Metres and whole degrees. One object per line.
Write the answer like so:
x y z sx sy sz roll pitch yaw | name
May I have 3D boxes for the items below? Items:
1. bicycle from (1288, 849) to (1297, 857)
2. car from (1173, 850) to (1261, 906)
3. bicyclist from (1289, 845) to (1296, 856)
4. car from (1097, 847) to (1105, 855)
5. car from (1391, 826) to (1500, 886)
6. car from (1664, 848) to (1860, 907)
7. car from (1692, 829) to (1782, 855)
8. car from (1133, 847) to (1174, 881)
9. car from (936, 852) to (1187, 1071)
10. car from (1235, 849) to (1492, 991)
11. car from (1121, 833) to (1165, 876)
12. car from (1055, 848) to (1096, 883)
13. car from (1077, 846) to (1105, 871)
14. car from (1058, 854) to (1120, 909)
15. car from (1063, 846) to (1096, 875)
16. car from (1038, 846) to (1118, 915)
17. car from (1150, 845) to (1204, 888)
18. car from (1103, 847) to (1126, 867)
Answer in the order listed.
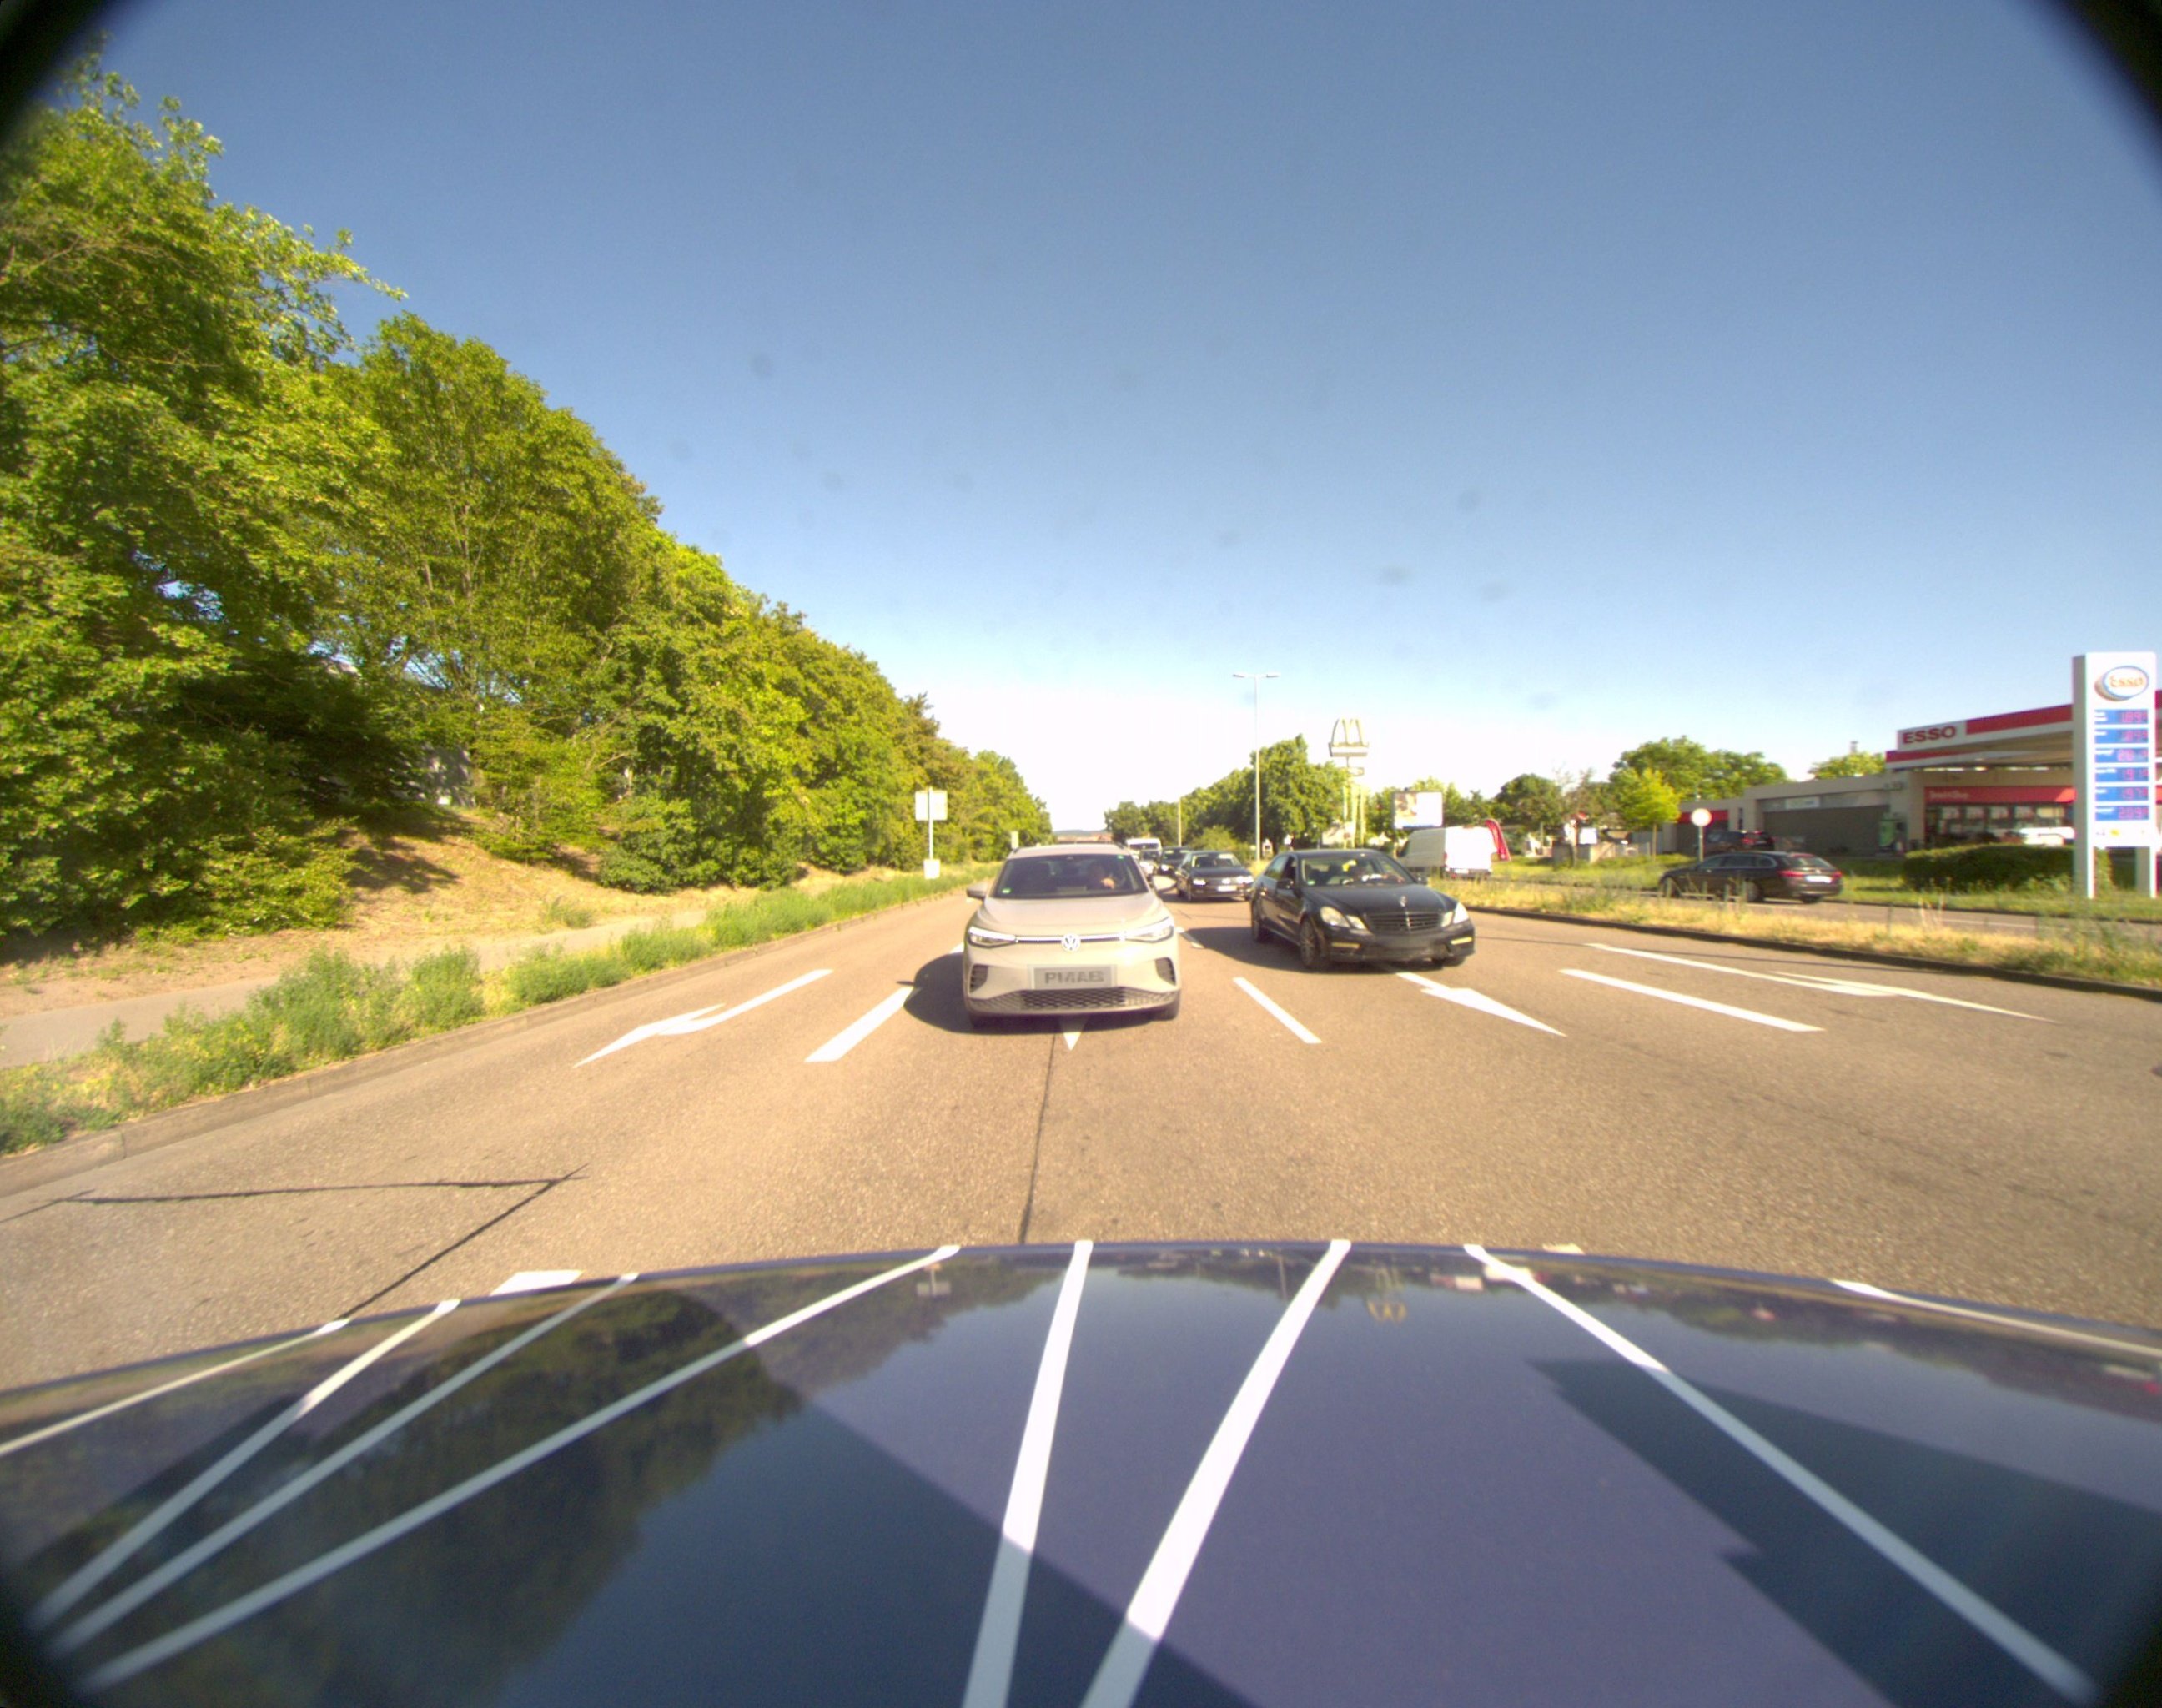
24.097 -0.086 86.600 0.629 0.863 1.741 -2 1 1 | bicycle
3.911 0.639 22.556 1.797 1.419 4.286 -2 1 0 | car
24.097 -0.423 86.644 0.629 1.281 0.700 -2 2 1 | bicyclist
5.212 -0.899 199.905 1.998 2.002 3.999 -2 1 1 | car
16.327 0.045 34.497 2.027 2.433 5.820 2 1 0 | car
19.928 0.599 22.545 1.763 1.482 4.477 2 1 1 | car
37.526 -0.677 43.611 1.683 1.401 3.977 1 1 0 | car
3.561 0.450 37.936 1.635 1.547 3.776 -2 1 0 | car
-0.156 0.820 8.018 1.862 1.574 4.402 -2 1 0 | car
3.557 0.710 10.546 1.868 1.430 4.402 -2 1 0 | car
3.650 -0.025 45.848 2.019 2.349 6.523 -2 1 0 | car
-0.259 0.496 36.567 1.763 1.482 4.402 -2 1 0 | car
0.634 0.240 50.829 1.763 1.482 4.402 -2 1 0 | car
0.227 0.816 24.756 1.763 1.482 4.402 -2 1 0 | car
-0.079 0.327 43.661 1.763 1.482 4.402 -2 1 0 | car
-0.076 0.575 19.568 1.763 1.482 4.402 -2 1 0 | car
3.888 0.473 31.260 1.674 1.608 3.878 -2 1 0 | car
2.861 0.238 65.901 1.763 1.607 4.402 -2 1 0 | car
